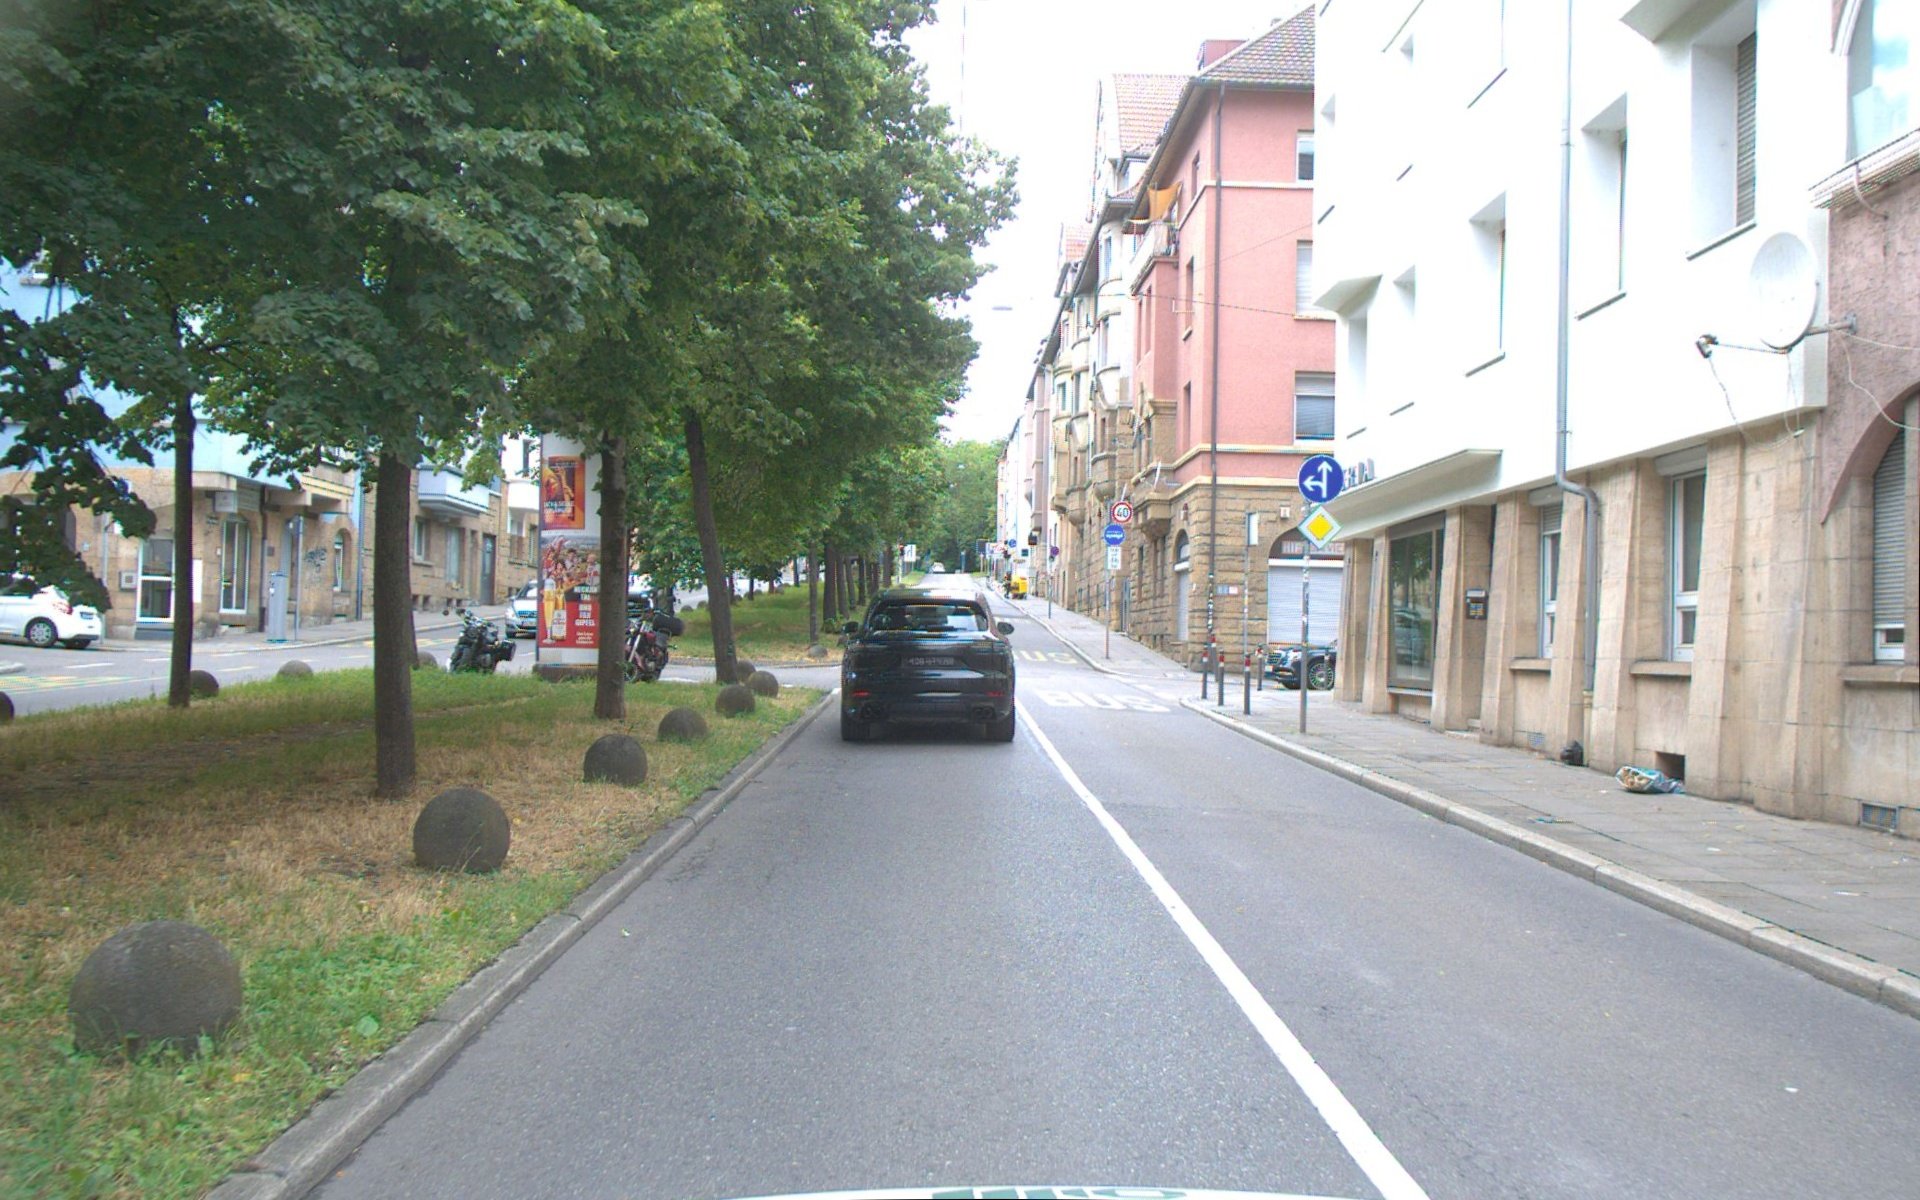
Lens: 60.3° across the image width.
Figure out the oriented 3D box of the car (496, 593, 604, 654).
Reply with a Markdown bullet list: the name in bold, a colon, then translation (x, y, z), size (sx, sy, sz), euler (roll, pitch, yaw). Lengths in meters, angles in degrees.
- **car**: translation (-11.866, 0.637, 48.201), size (1.953, 1.652, 4.815), euler (1, 0, -1)

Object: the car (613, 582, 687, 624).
- **car**: translation (-11.611, 0.100, 62.255), size (1.953, 1.509, 4.531), euler (1, 0, -1)

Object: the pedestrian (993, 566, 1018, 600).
- **pedestrian**: translation (2.857, -1.065, 103.791), size (1.283, 2.049, 1.012), euler (1, -1, -23)

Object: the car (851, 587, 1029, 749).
- **car**: translation (-0.292, 0.729, 19.652), size (1.865, 1.695, 4.133), euler (1, 0, -2)

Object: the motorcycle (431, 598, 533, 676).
- **motorcycle**: translation (-7.227, 0.572, 25.114), size (0.882, 1.126, 2.250), euler (0, -2, 0)

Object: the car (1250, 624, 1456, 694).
- **car**: translation (8.440, 1.231, 35.599), size (3.930, 1.400, 1.987), euler (0, 0, -22)

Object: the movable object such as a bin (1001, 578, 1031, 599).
- **movable object such as a bin**: translation (3.471, -0.694, 102.446), size (1.220, 1.296, 1.833), euler (1, 0, -23)

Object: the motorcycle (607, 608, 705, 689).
- **motorcycle**: translation (-4.613, 0.707, 25.279), size (1.040, 1.168, 2.448), euler (0, 0, 0)

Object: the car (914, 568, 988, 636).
- **car**: translation (-0.261, 0.048, 46.301), size (1.953, 1.784, 3.999), euler (1, 0, 0)

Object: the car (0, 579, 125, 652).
- **car**: translation (-20.480, 0.303, 35.676), size (3.906, 1.523, 2.000), euler (1, 0, -1)
